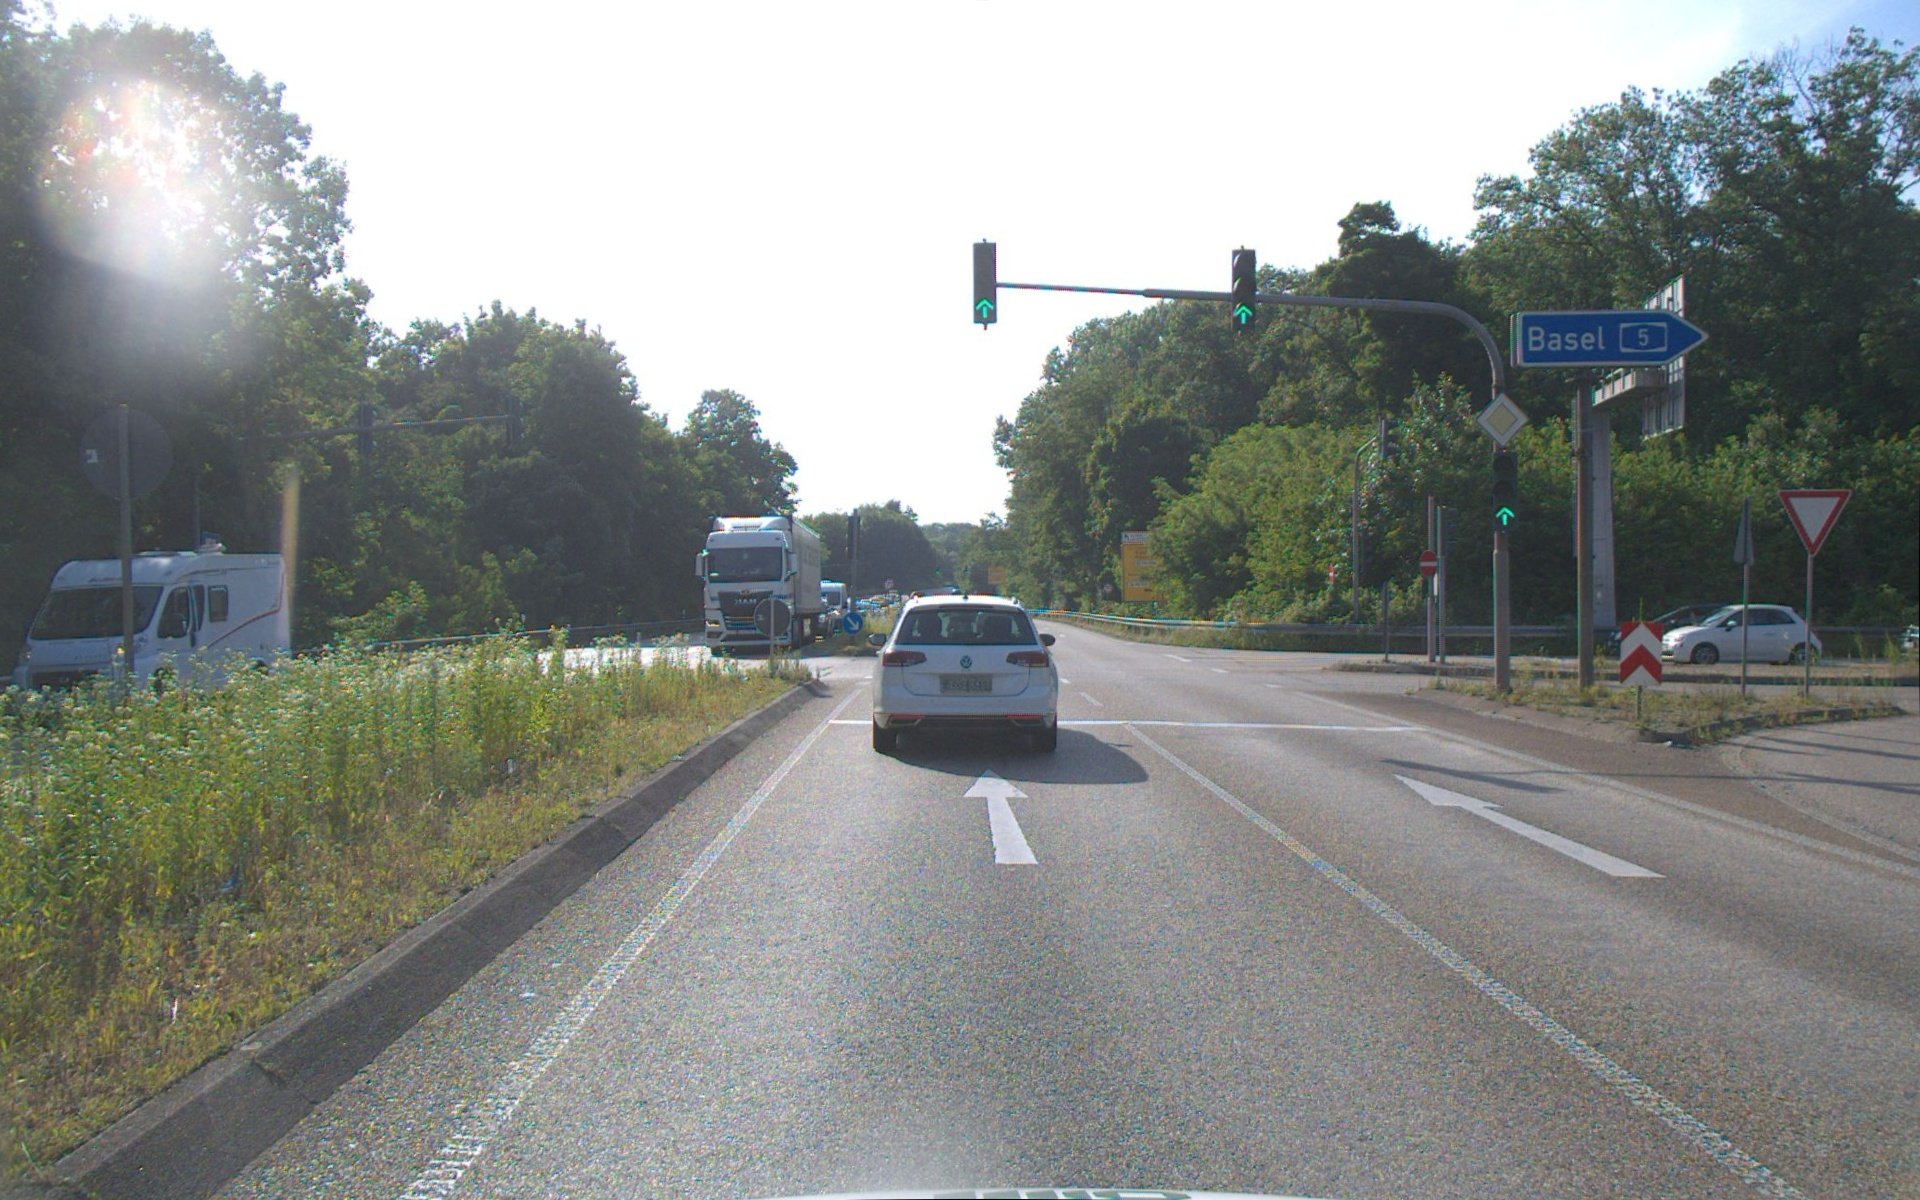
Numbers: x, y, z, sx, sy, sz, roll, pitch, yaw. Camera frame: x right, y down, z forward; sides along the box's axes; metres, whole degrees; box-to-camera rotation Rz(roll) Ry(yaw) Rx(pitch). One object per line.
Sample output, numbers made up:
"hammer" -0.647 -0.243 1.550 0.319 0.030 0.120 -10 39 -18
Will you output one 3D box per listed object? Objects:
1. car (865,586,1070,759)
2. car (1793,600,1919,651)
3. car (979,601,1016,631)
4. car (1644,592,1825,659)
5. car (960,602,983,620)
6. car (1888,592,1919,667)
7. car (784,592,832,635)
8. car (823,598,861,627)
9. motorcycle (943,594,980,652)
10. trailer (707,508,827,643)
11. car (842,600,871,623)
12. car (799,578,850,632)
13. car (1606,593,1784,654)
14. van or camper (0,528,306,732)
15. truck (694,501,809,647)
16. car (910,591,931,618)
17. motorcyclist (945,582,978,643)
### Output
"car" 0.030 0.636 17.201 1.832 1.548 4.833 0 0 -1
"car" 24.896 0.678 45.147 3.550 1.336 1.492 0 0 4
"car" 1.834 0.764 82.010 1.725 1.404 3.971 1 0 0
"car" 18.521 0.595 39.693 3.522 1.529 1.809 0 0 4
"car" 0.994 0.946 147.205 1.710 1.564 3.922 1 0 -5
"car" 24.350 0.687 38.869 4.023 1.738 1.870 0 0 4
"car" -6.134 0.511 67.274 1.666 1.660 4.369 -2 0 -2
"car" -6.472 0.675 91.098 1.724 1.482 5.185 -2 0 -1
"motorcycle" 0.060 0.607 45.386 0.890 1.478 2.689 -4 0 1
"trailer" -6.456 -0.776 57.595 2.931 4.066 14.009 1 0 -2
"car" -7.065 0.768 113.185 1.735 1.448 5.192 -2 0 -1
"car" -6.747 0.226 83.073 2.033 2.578 6.163 -2 0 -1
"car" 19.258 0.586 43.505 4.022 1.522 1.786 0 0 14
"van or camper" -12.939 0.429 26.396 2.364 2.758 6.436 -3 0 -1
"truck" -6.223 -0.748 50.202 2.833 4.067 6.719 1 0 -2
"car" -4.421 0.446 186.915 2.165 2.939 7.010 -2 0 -1
"motorcyclist" 0.055 0.344 45.500 0.865 1.644 1.290 1 0 1
